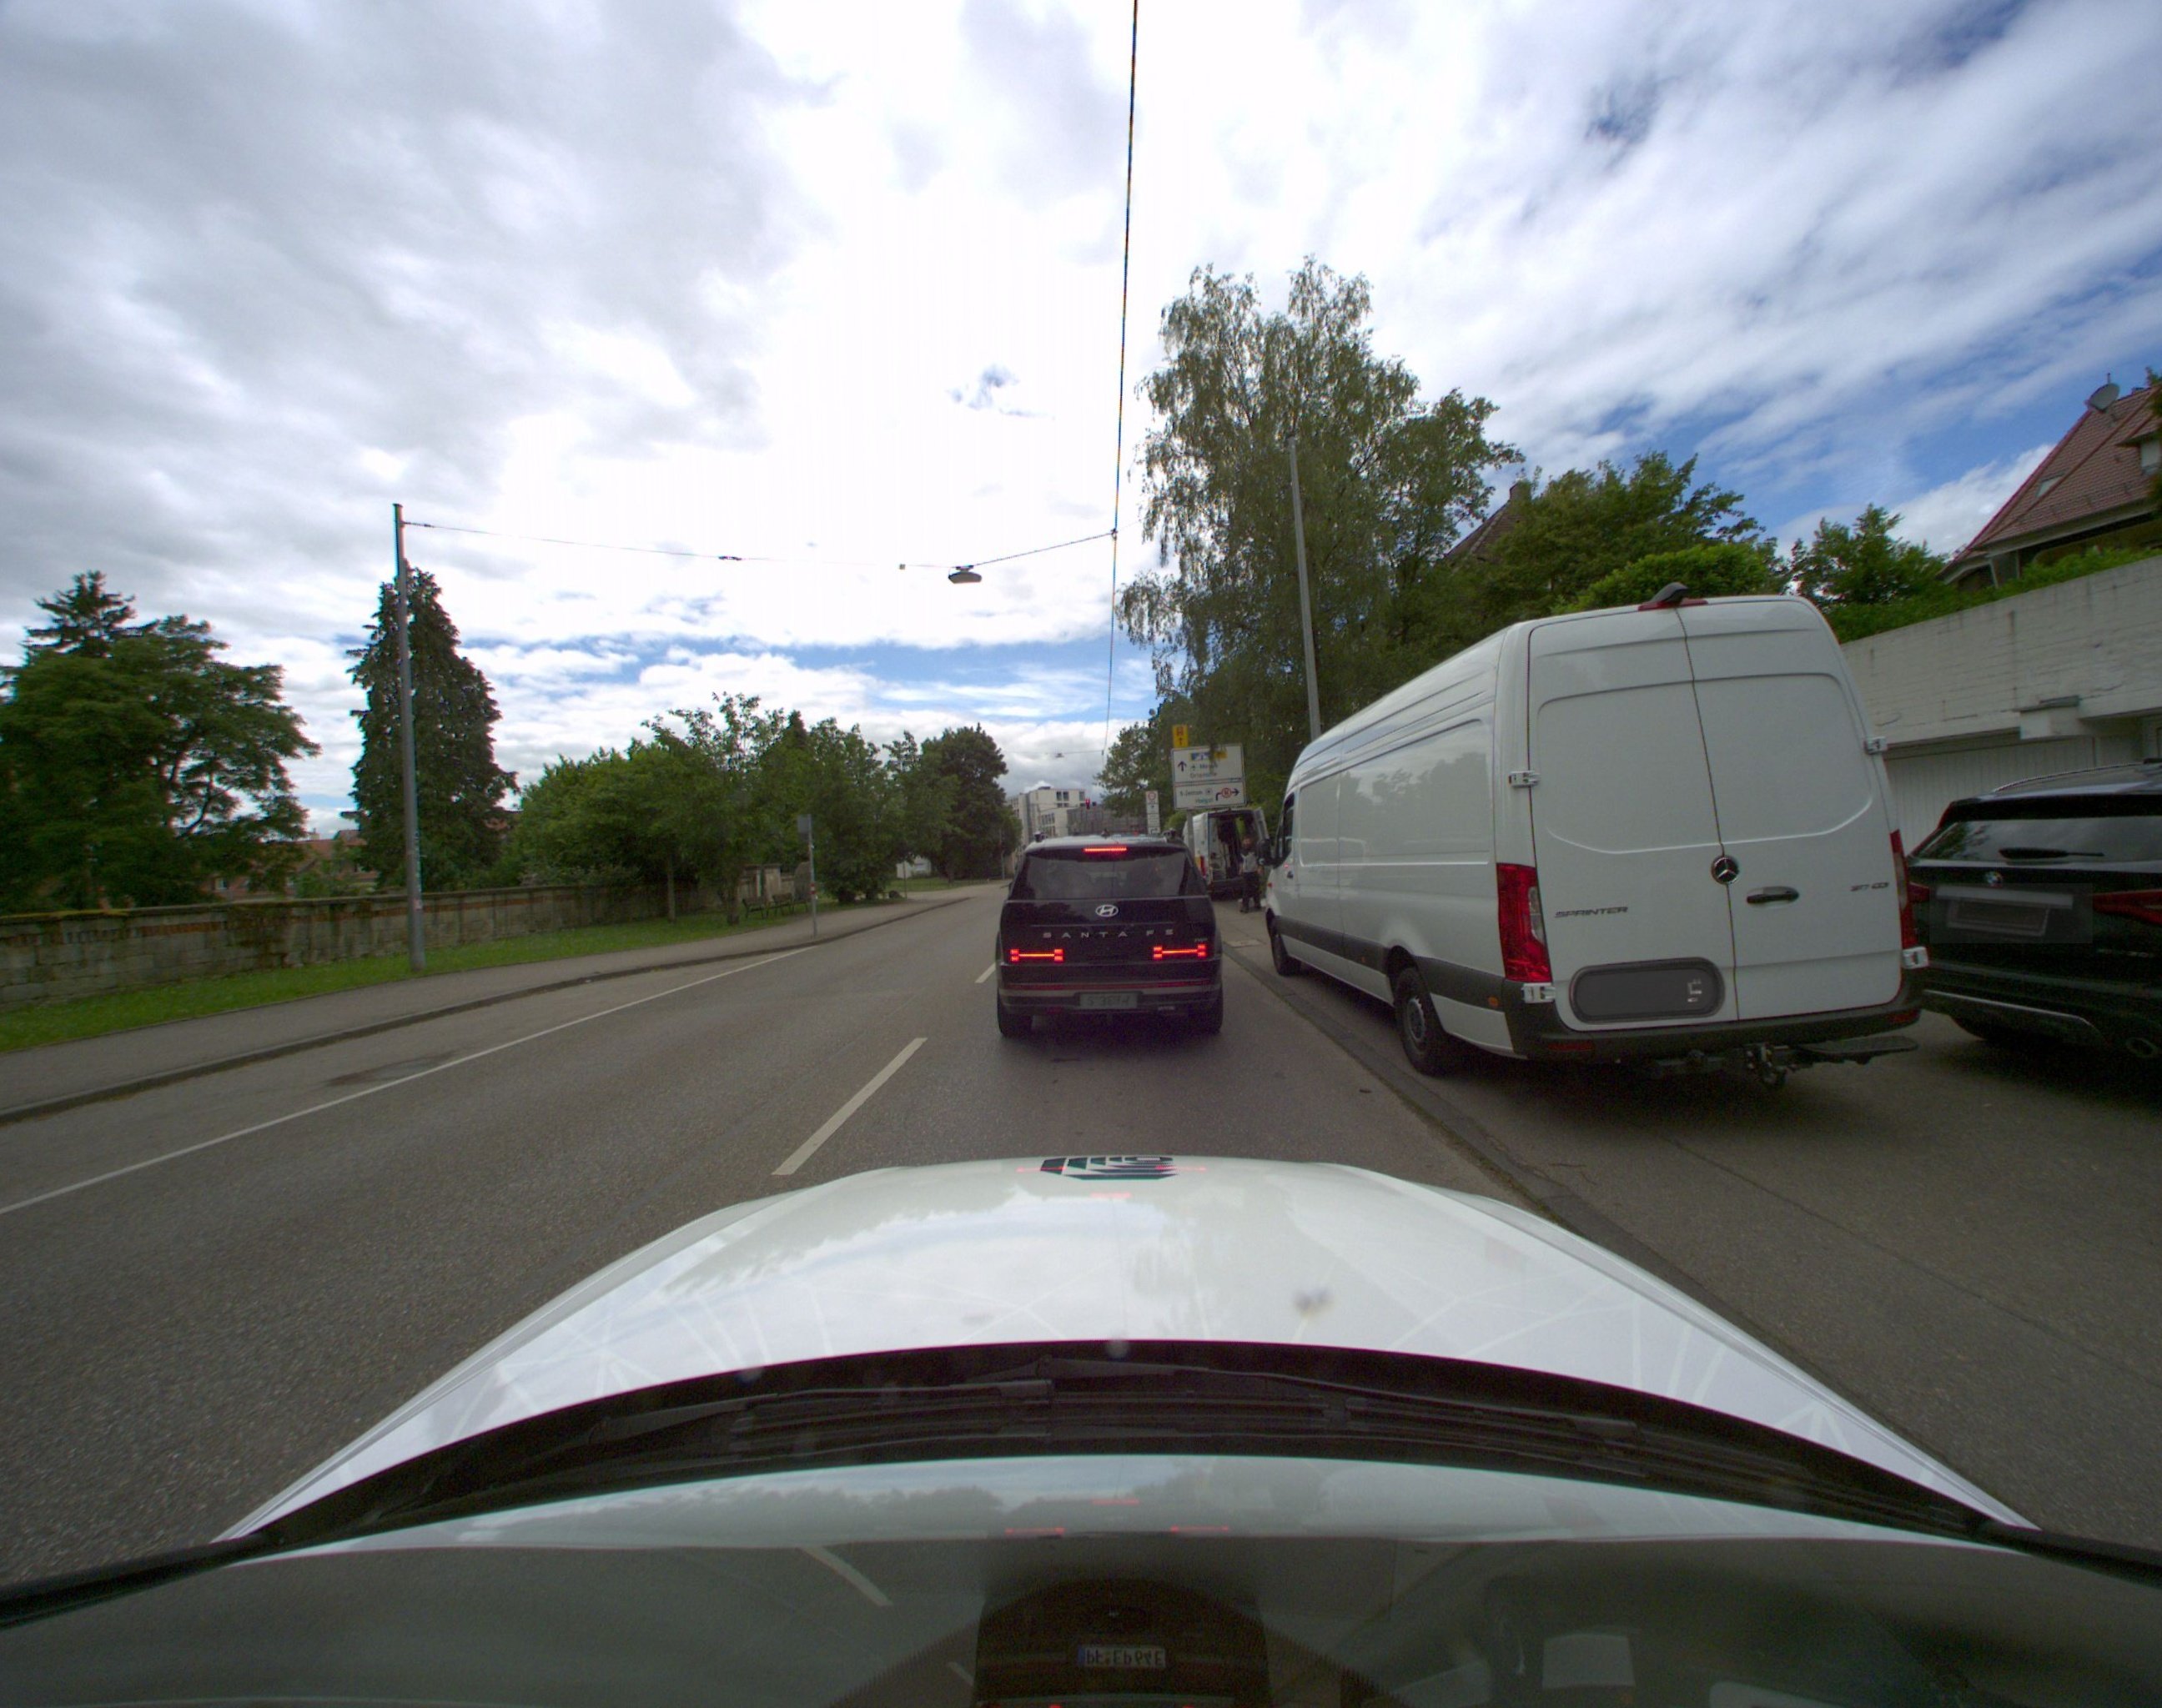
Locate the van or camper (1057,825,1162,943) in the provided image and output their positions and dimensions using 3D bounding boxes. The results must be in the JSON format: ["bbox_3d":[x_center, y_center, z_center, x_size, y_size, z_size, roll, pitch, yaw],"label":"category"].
[{"bbox_3d":[0.572,0.538,16.484,1.748,2.013,4.002,-3,0,2],"label":"van or camper"}]

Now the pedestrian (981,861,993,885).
[{"bbox_3d":[-6.975,1.395,60.376,0.737,1.715,0.791,-3,0,-5],"label":"pedestrian"}]

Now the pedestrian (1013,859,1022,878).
[{"bbox_3d":[-5.897,1.388,75.856,0.737,1.715,0.791,-3,0,-5],"label":"pedestrian"}]

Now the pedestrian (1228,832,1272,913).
[{"bbox_3d":[3.923,0.415,18.880,0.750,1.797,0.877,-3,-1,22],"label":"pedestrian"}]

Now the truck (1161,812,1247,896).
[{"bbox_3d":[4.220,0.025,28.826,1.937,2.561,5.213,-5,-1,-1],"label":"truck"}]

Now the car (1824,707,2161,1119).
[{"bbox_3d":[6.815,0.142,4.099,4.398,1.750,1.739,-3,0,3],"label":"car"}]

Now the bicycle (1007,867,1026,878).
[{"bbox_3d":[-6.225,1.787,78.300,1.753,1.093,0.703,-1,-1,33],"label":"bicycle"}]

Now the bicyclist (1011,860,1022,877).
[{"bbox_3d":[-6.227,1.399,78.310,0.820,1.691,0.723,-1,-1,32],"label":"bicyclist"}]

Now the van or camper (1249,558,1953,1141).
[{"bbox_3d":[3.087,-0.013,7.070,1.986,2.620,6.543,-3,0,2],"label":"van or camper"}]

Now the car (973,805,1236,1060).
[{"bbox_3d":[0.233,0.582,7.964,1.883,1.819,4.002,-2,0,2],"label":"car"}]
